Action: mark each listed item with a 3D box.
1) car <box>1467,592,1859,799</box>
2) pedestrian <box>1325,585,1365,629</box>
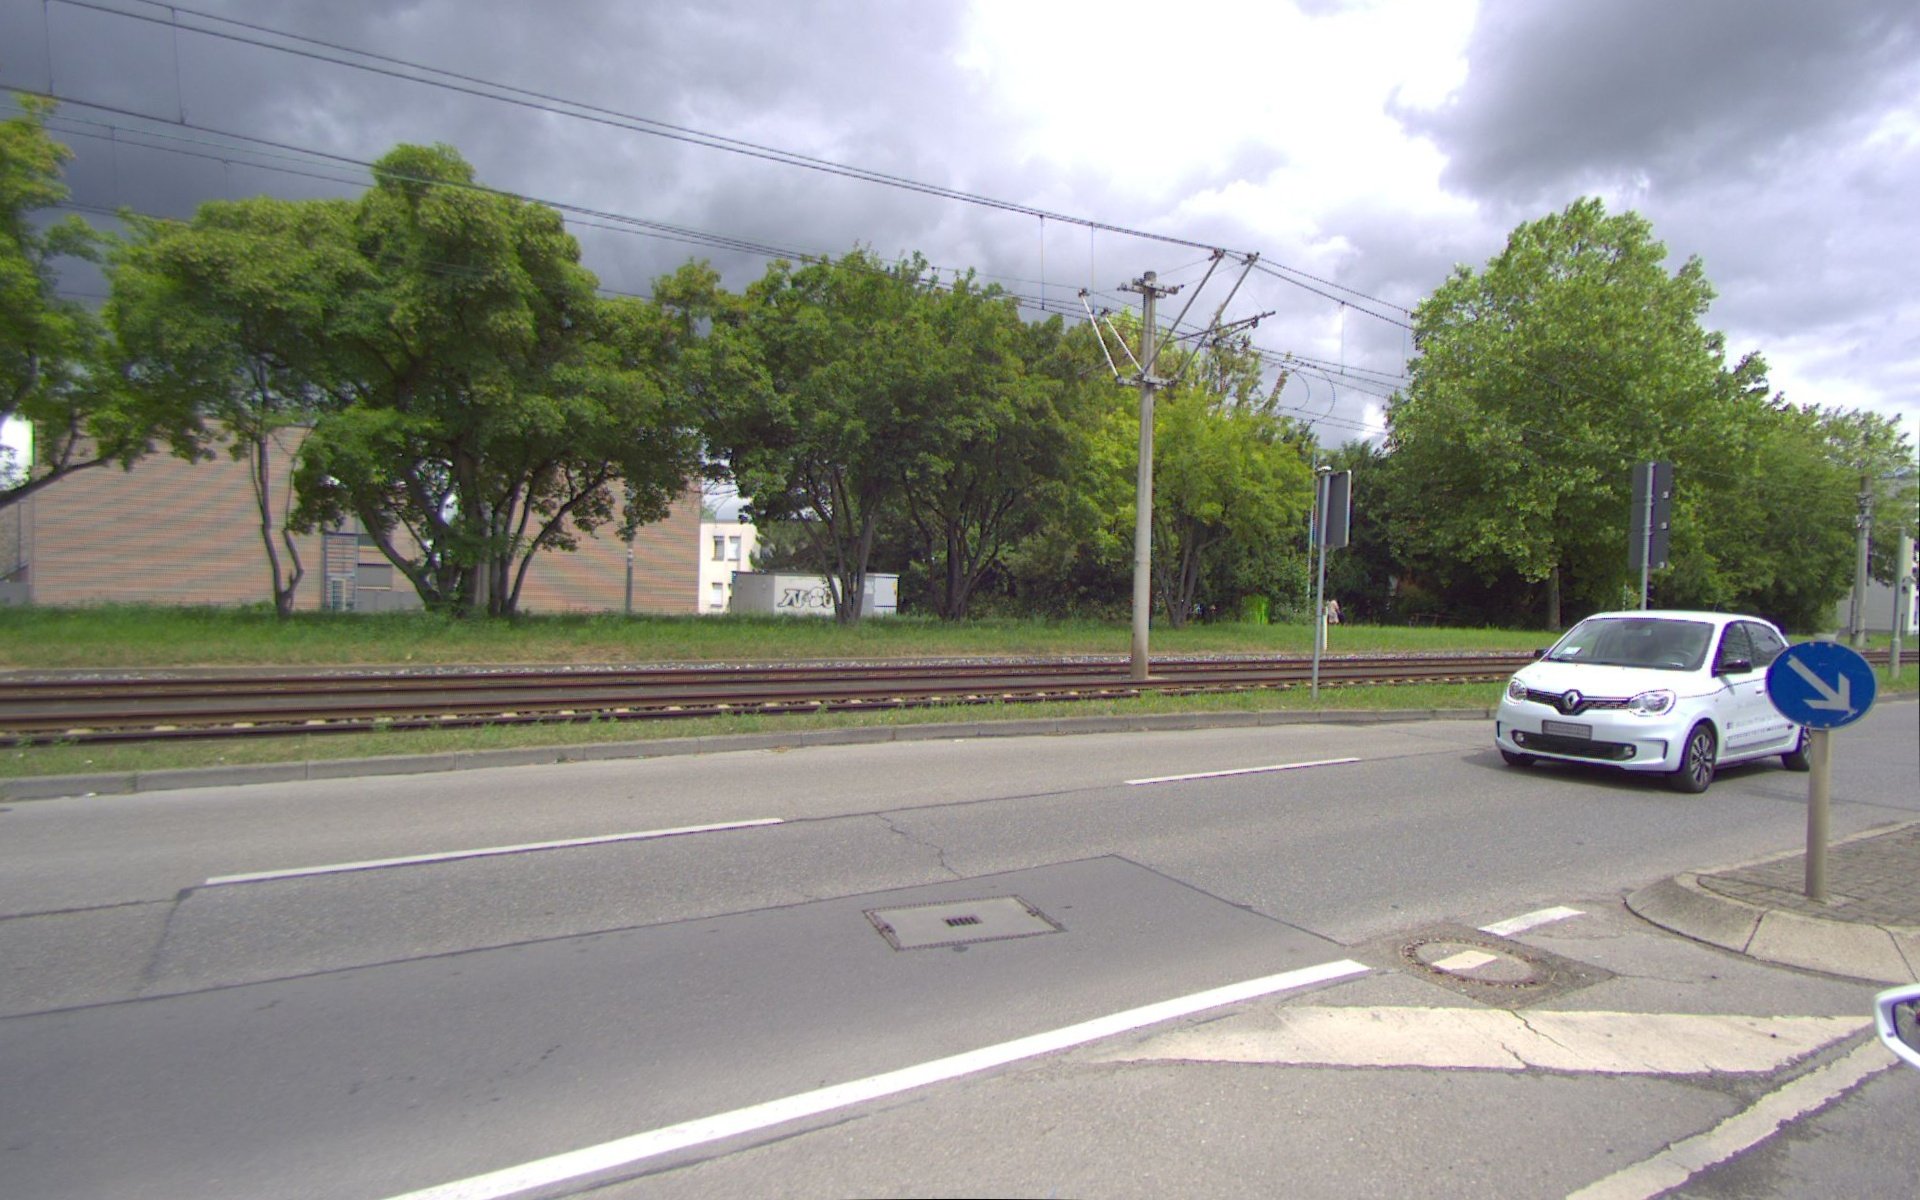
[{"bbox_3d":[7.099,0.835,10.026,4.218,1.634,1.718,2,1,-33],"label":"car"},{"bbox_3d":[17.835,0.314,46.559,1.348,1.959,1.029,1,2,-31],"label":"pedestrian"}]
